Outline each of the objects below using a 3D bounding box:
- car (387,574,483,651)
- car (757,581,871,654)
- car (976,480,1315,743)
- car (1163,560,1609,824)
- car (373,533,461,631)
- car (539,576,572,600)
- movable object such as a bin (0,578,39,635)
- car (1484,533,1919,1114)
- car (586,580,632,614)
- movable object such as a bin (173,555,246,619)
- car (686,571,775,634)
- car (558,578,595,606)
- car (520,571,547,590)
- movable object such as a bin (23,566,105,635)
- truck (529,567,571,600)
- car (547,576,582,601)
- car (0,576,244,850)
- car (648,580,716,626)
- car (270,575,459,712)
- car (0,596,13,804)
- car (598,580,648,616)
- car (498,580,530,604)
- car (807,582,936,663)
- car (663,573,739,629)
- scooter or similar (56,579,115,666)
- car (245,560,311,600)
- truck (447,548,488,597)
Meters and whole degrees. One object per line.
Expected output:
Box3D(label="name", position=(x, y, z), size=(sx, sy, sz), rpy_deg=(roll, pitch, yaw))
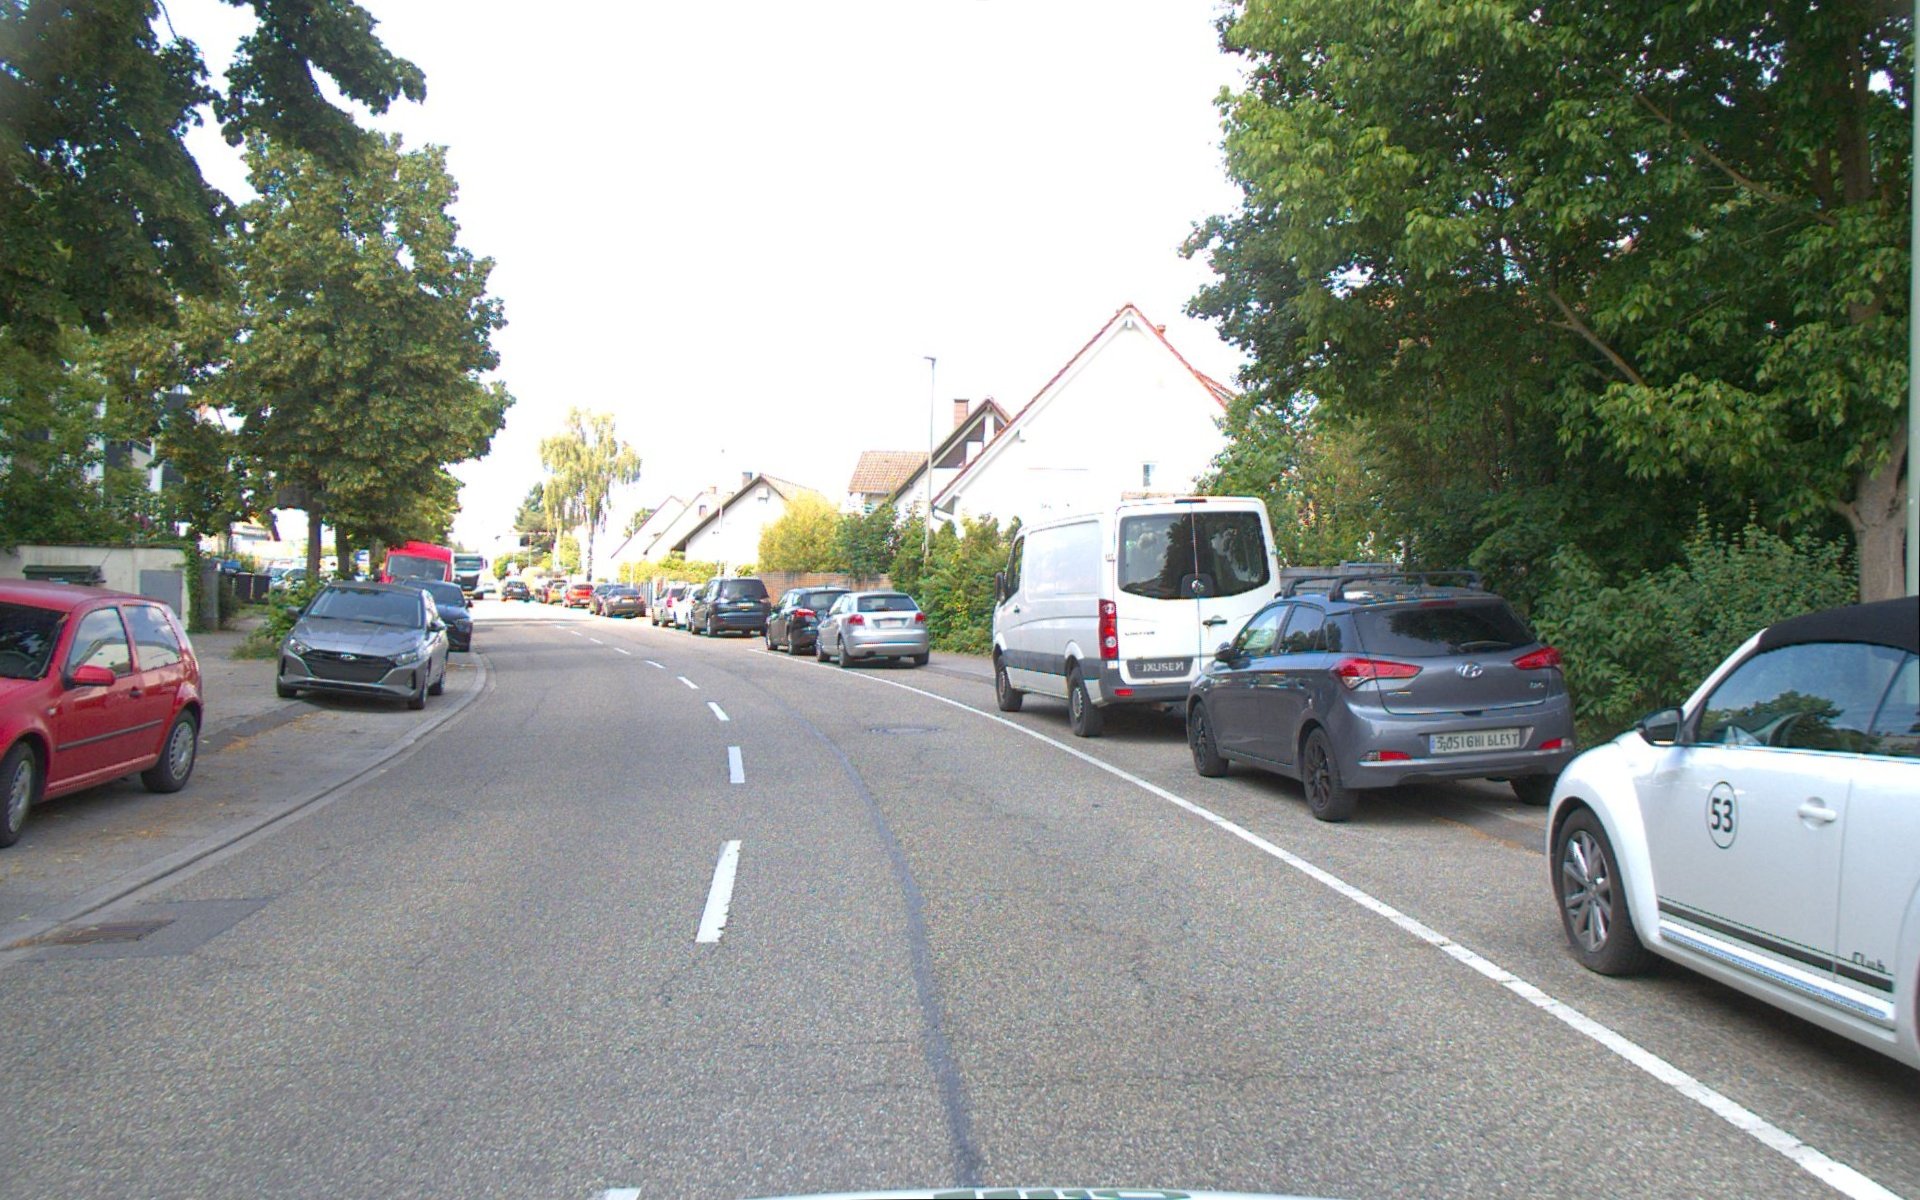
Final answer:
Box3D(label="car", position=(-11.830, 0.242, 37.119), size=(1.761, 1.482, 4.409), rpy_deg=(6, -1, -20))
Box3D(label="car", position=(-3.448, 0.361, 38.331), size=(1.710, 1.535, 4.455), rpy_deg=(1, 0, -17))
Box3D(label="car", position=(1.835, 0.094, 18.782), size=(2.080, 2.483, 5.877), rpy_deg=(1, 0, -12))
Box3D(label="car", position=(2.918, 0.563, 12.319), size=(1.686, 1.613, 4.115), rpy_deg=(1, 0, -9))
Box3D(label="car", position=(-16.020, -0.538, 49.041), size=(2.031, 2.543, 5.815), rpy_deg=(5, -1, -16))
Box3D(label="car", position=(-27.471, -0.858, 112.320), size=(1.767, 1.550, 4.508), rpy_deg=(1, 0, -18))
Box3D(label="movable object such as a bin", position=(-18.720, 0.118, 32.654), size=(0.613, 1.042, 0.877), rpy_deg=(1, 4, -6))
Box3D(label="car", position=(3.368, 0.604, 5.428), size=(1.705, 1.539, 4.456), rpy_deg=(1, 0, -2))
Box3D(label="car", position=(-17.126, -0.164, 80.585), size=(1.767, 1.550, 3.953), rpy_deg=(1, 0, -18))
Box3D(label="movable object such as a bin", position=(-18.509, -0.319, 40.839), size=(1.332, 1.530, 1.819), rpy_deg=(1, 0, -16))
Box3D(label="car", position=(-6.924, 0.038, 49.576), size=(1.768, 1.779, 4.558), rpy_deg=(1, 0, -19))
Box3D(label="car", position=(-22.880, -0.508, 98.586), size=(1.767, 1.550, 4.508), rpy_deg=(1, 0, -18))
Box3D(label="car", position=(-35.660, -1.619, 138.131), size=(1.768, 1.550, 4.506), rpy_deg=(1, 0, -19))
Box3D(label="movable object such as a bin", position=(-17.737, 0.005, 32.768), size=(1.169, 1.296, 0.877), rpy_deg=(1, 4, -6))
Box3D(label="truck", position=(-30.431, -1.263, 122.638), size=(2.529, 2.300, 6.501), rpy_deg=(1, 0, -18))
Box3D(label="car", position=(-25.830, -0.741, 107.943), size=(1.767, 1.550, 4.508), rpy_deg=(1, 0, -18))
Box3D(label="car", position=(-6.409, 0.619, 10.849), size=(1.801, 1.463, 4.088), rpy_deg=(4, 0, -4))
Box3D(label="car", position=(-10.109, 0.080, 59.964), size=(1.768, 1.550, 3.951), rpy_deg=(1, 0, -19))
Box3D(label="car", position=(-7.646, 0.490, 21.598), size=(1.730, 1.515, 4.329), rpy_deg=(3, 0, -13))
Box3D(label="car", position=(-5.164, 0.677, 5.437), size=(1.726, 1.515, 4.565), rpy_deg=(3, -1, -5))
Box3D(label="car", position=(-15.511, -0.105, 75.902), size=(1.767, 1.550, 3.953), rpy_deg=(1, 0, -18))
Box3D(label="car", position=(-30.577, -0.588, 113.439), size=(1.768, 1.550, 4.506), rpy_deg=(1, 0, -19))
Box3D(label="car", position=(-1.848, 0.412, 33.171), size=(1.708, 1.483, 4.348), rpy_deg=(1, 0, -15))
Box3D(label="car", position=(-8.761, 0.004, 55.729), size=(1.769, 1.779, 3.949), rpy_deg=(1, 0, -20))
Box3D(label="scooter or similar", position=(-12.375, 0.305, 23.429), size=(0.412, 1.186, 1.137), rpy_deg=(3, 0, -13))
Box3D(label="car", position=(-29.551, -0.845, 71.740), size=(1.756, 1.482, 4.421), rpy_deg=(5, -1, -12))
Box3D(label="truck", position=(-38.740, -2.142, 129.789), size=(2.818, 3.574, 12.293), rpy_deg=(1, 0, -17))
